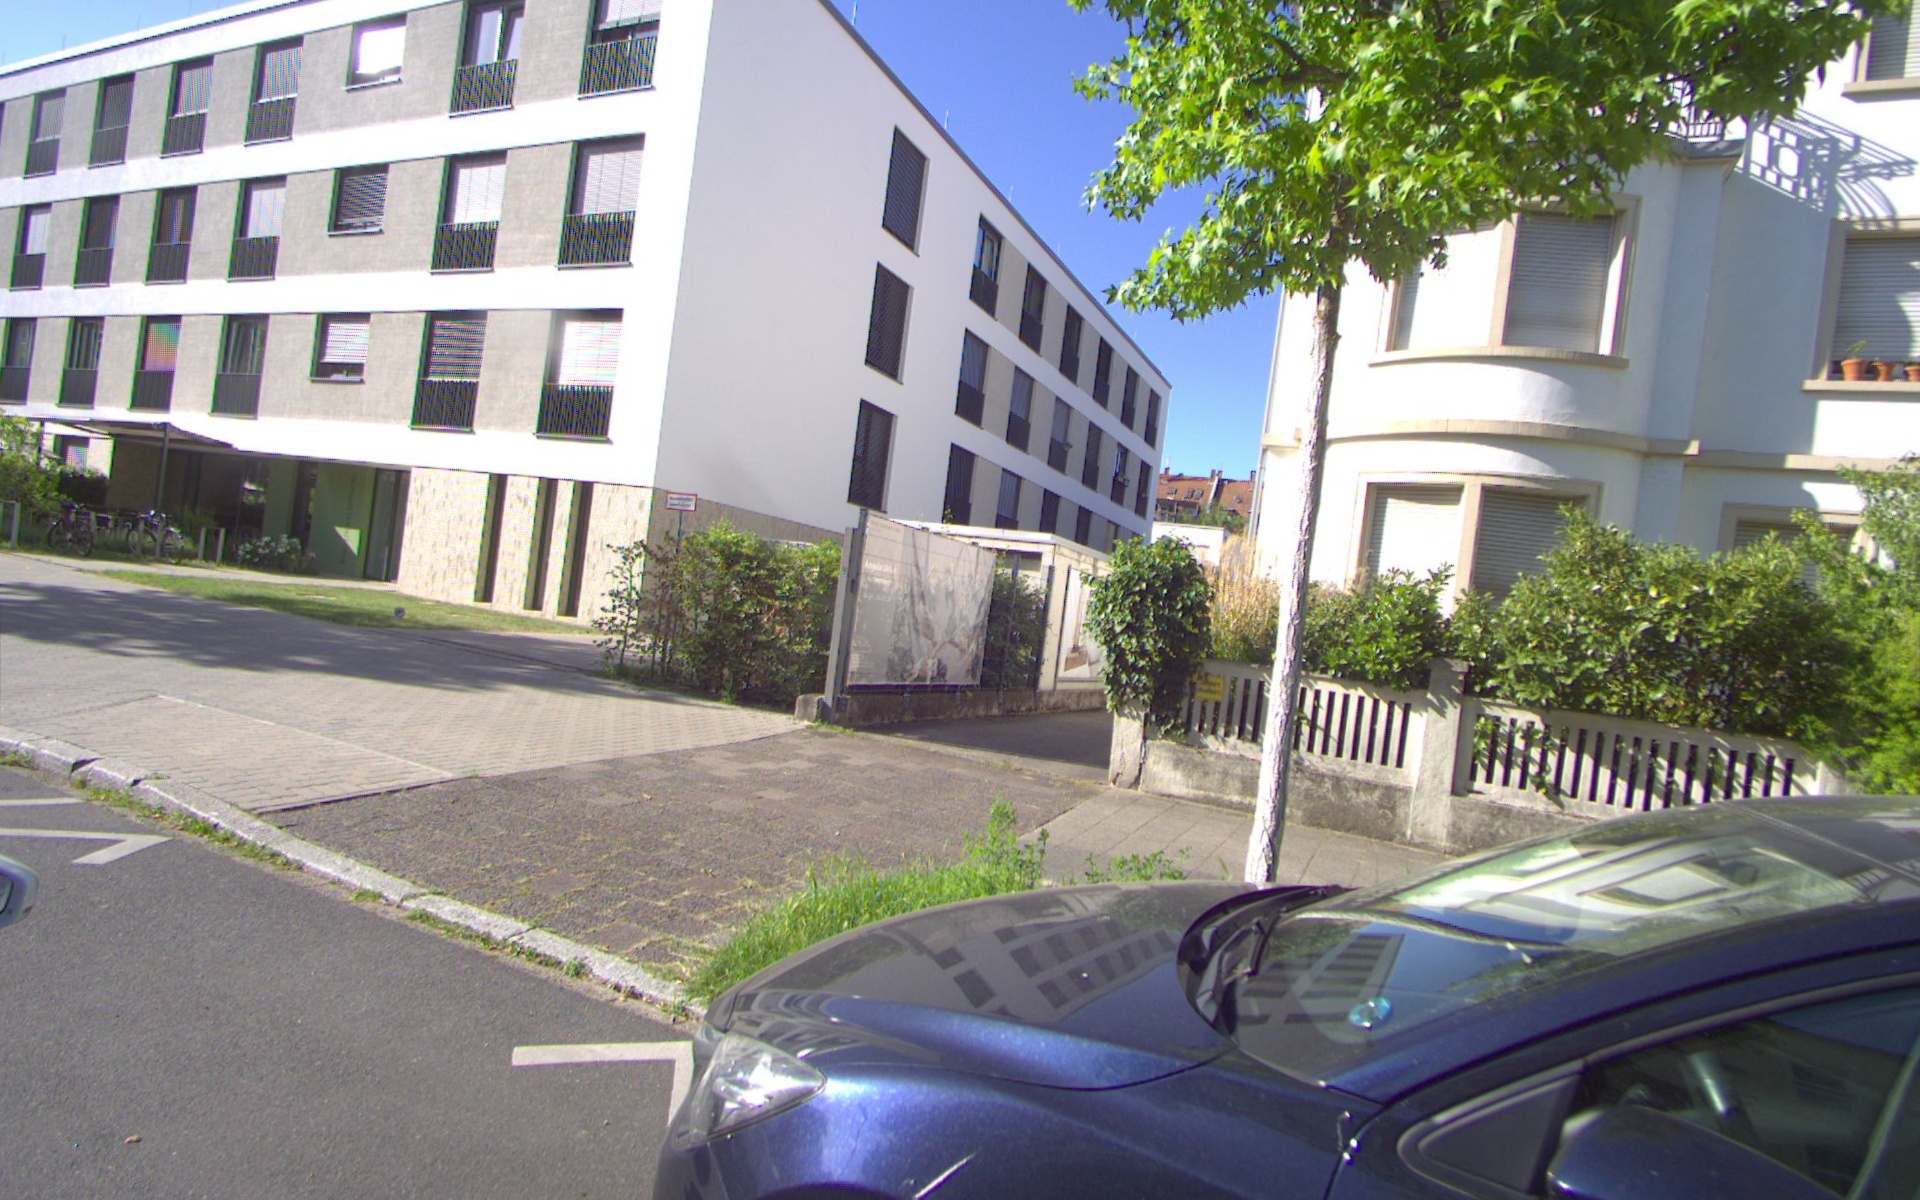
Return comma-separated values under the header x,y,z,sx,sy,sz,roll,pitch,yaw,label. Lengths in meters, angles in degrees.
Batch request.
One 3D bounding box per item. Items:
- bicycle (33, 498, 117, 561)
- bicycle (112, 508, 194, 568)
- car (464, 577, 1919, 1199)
x,y,z,sx,sy,sz,roll,pitch,yaw,label
-17.768,-1.409,20.201,1.661,1.068,0.547,7,1,23,bicycle
-17.218,-1.327,21.451,1.747,1.068,0.547,7,1,23,bicycle
1.387,0.972,1.480,4.010,1.467,1.704,7,1,26,car
